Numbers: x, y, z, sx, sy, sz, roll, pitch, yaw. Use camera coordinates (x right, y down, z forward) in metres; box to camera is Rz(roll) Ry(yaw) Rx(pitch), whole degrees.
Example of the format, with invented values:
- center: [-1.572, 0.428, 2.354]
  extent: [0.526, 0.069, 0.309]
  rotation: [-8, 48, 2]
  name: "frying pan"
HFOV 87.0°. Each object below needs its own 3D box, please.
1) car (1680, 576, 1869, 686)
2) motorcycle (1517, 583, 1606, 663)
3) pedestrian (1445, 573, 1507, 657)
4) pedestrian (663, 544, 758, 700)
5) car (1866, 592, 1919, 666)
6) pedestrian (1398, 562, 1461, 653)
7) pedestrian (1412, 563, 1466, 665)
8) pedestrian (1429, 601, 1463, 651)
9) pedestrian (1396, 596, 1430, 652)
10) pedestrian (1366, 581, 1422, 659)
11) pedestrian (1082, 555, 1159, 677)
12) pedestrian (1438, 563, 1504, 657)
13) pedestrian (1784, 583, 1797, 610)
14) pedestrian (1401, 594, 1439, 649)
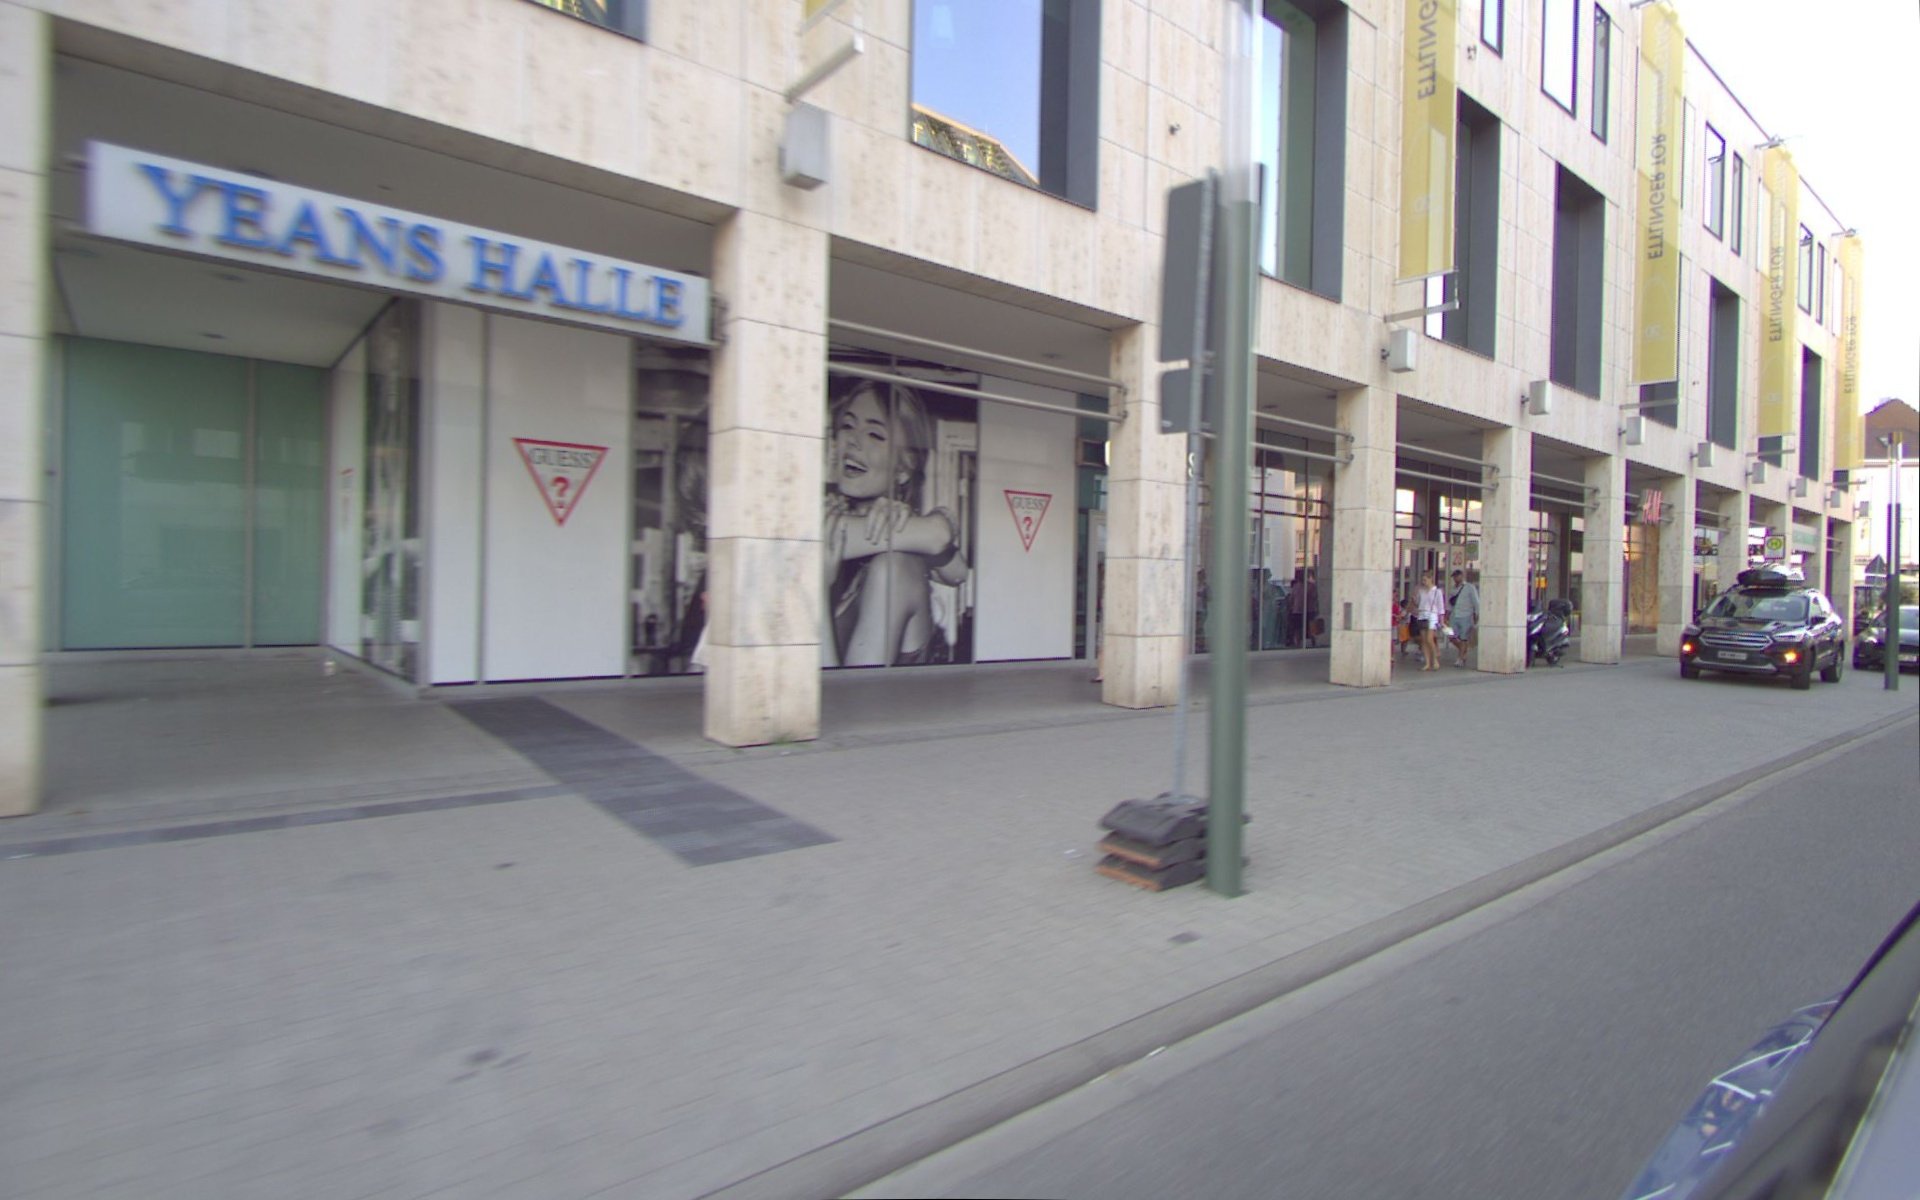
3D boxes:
- center: [14.632, 0.478, 18.115]
  extent: [3.984, 1.657, 1.773]
  rotation: [0, 4, -39]
  name: "car"
- center: [11.393, 0.419, 19.145]
  extent: [2.096, 1.434, 0.694]
  rotation: [0, 1, -38]
  name: "motorcycle"
- center: [10.012, 0.287, 19.628]
  extent: [0.861, 1.587, 0.766]
  rotation: [3, -1, -40]
  name: "pedestrian"
- center: [-2.622, 0.214, 10.616]
  extent: [0.761, 1.562, 0.635]
  rotation: [0, 0, -40]
  name: "pedestrian"
- center: [21.791, 0.638, 22.463]
  extent: [4.117, 1.508, 1.800]
  rotation: [0, 5, -39]
  name: "car"
- center: [9.068, 0.145, 19.547]
  extent: [0.861, 1.703, 0.766]
  rotation: [3, -1, -40]
  name: "pedestrian"
- center: [8.219, 0.227, 17.365]
  extent: [0.684, 1.720, 0.591]
  rotation: [1, 1, -42]
  name: "pedestrian"
- center: [9.977, 0.538, 20.774]
  extent: [0.516, 0.998, 0.420]
  rotation: [3, -1, -40]
  name: "pedestrian"
- center: [9.211, 0.479, 20.565]
  extent: [0.516, 1.111, 0.420]
  rotation: [3, -1, -40]
  name: "pedestrian"
- center: [7.873, 0.361, 18.349]
  extent: [0.761, 1.363, 0.635]
  rotation: [3, -1, -40]
  name: "pedestrian"
- center: [2.161, 0.210, 13.619]
  extent: [0.761, 1.587, 0.635]
  rotation: [3, -1, -40]
  name: "pedestrian"
- center: [9.505, 0.182, 18.828]
  extent: [0.861, 1.703, 0.766]
  rotation: [3, -1, -40]
  name: "pedestrian"
- center: [56.762, -0.214, 69.186]
  extent: [0.705, 1.841, 0.509]
  rotation: [0, 1, -38]
  name: "pedestrian"
- center: [9.645, 0.453, 21.221]
  extent: [0.591, 1.111, 0.488]
  rotation: [3, -1, -40]
  name: "pedestrian"
